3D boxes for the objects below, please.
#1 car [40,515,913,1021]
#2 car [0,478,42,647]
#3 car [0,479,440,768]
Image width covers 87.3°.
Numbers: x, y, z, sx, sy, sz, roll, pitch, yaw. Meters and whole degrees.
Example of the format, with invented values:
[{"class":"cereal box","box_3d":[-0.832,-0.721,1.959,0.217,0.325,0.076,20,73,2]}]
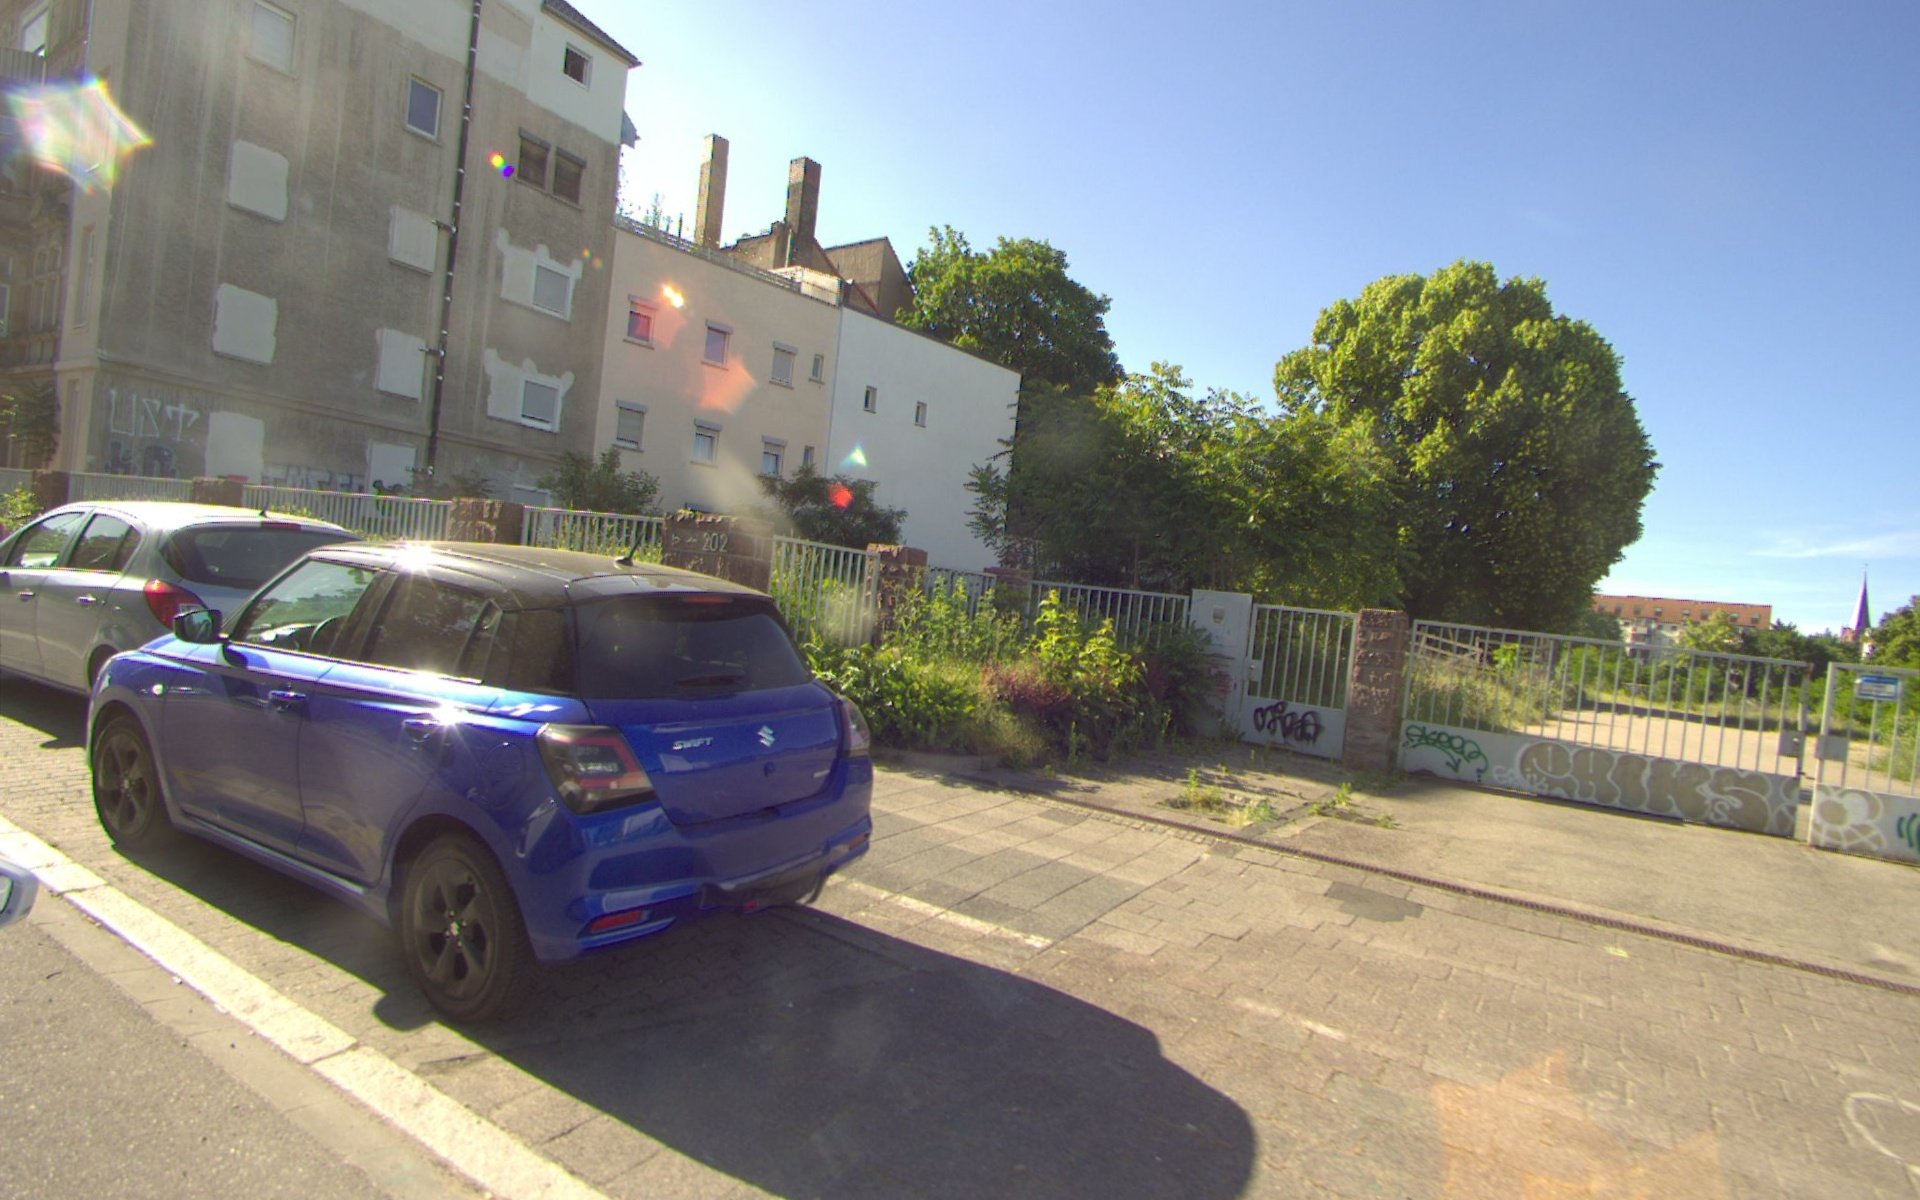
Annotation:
[{"class":"car","box_3d":[-2.309,0.411,4.543,3.835,1.199,1.668,7,4,30]},{"class":"car","box_3d":[-10.227,-0.516,9.303,3.597,1.466,1.608,7,4,31]},{"class":"car","box_3d":[-5.793,-0.002,7.267,3.917,1.480,1.668,7,4,28]}]
